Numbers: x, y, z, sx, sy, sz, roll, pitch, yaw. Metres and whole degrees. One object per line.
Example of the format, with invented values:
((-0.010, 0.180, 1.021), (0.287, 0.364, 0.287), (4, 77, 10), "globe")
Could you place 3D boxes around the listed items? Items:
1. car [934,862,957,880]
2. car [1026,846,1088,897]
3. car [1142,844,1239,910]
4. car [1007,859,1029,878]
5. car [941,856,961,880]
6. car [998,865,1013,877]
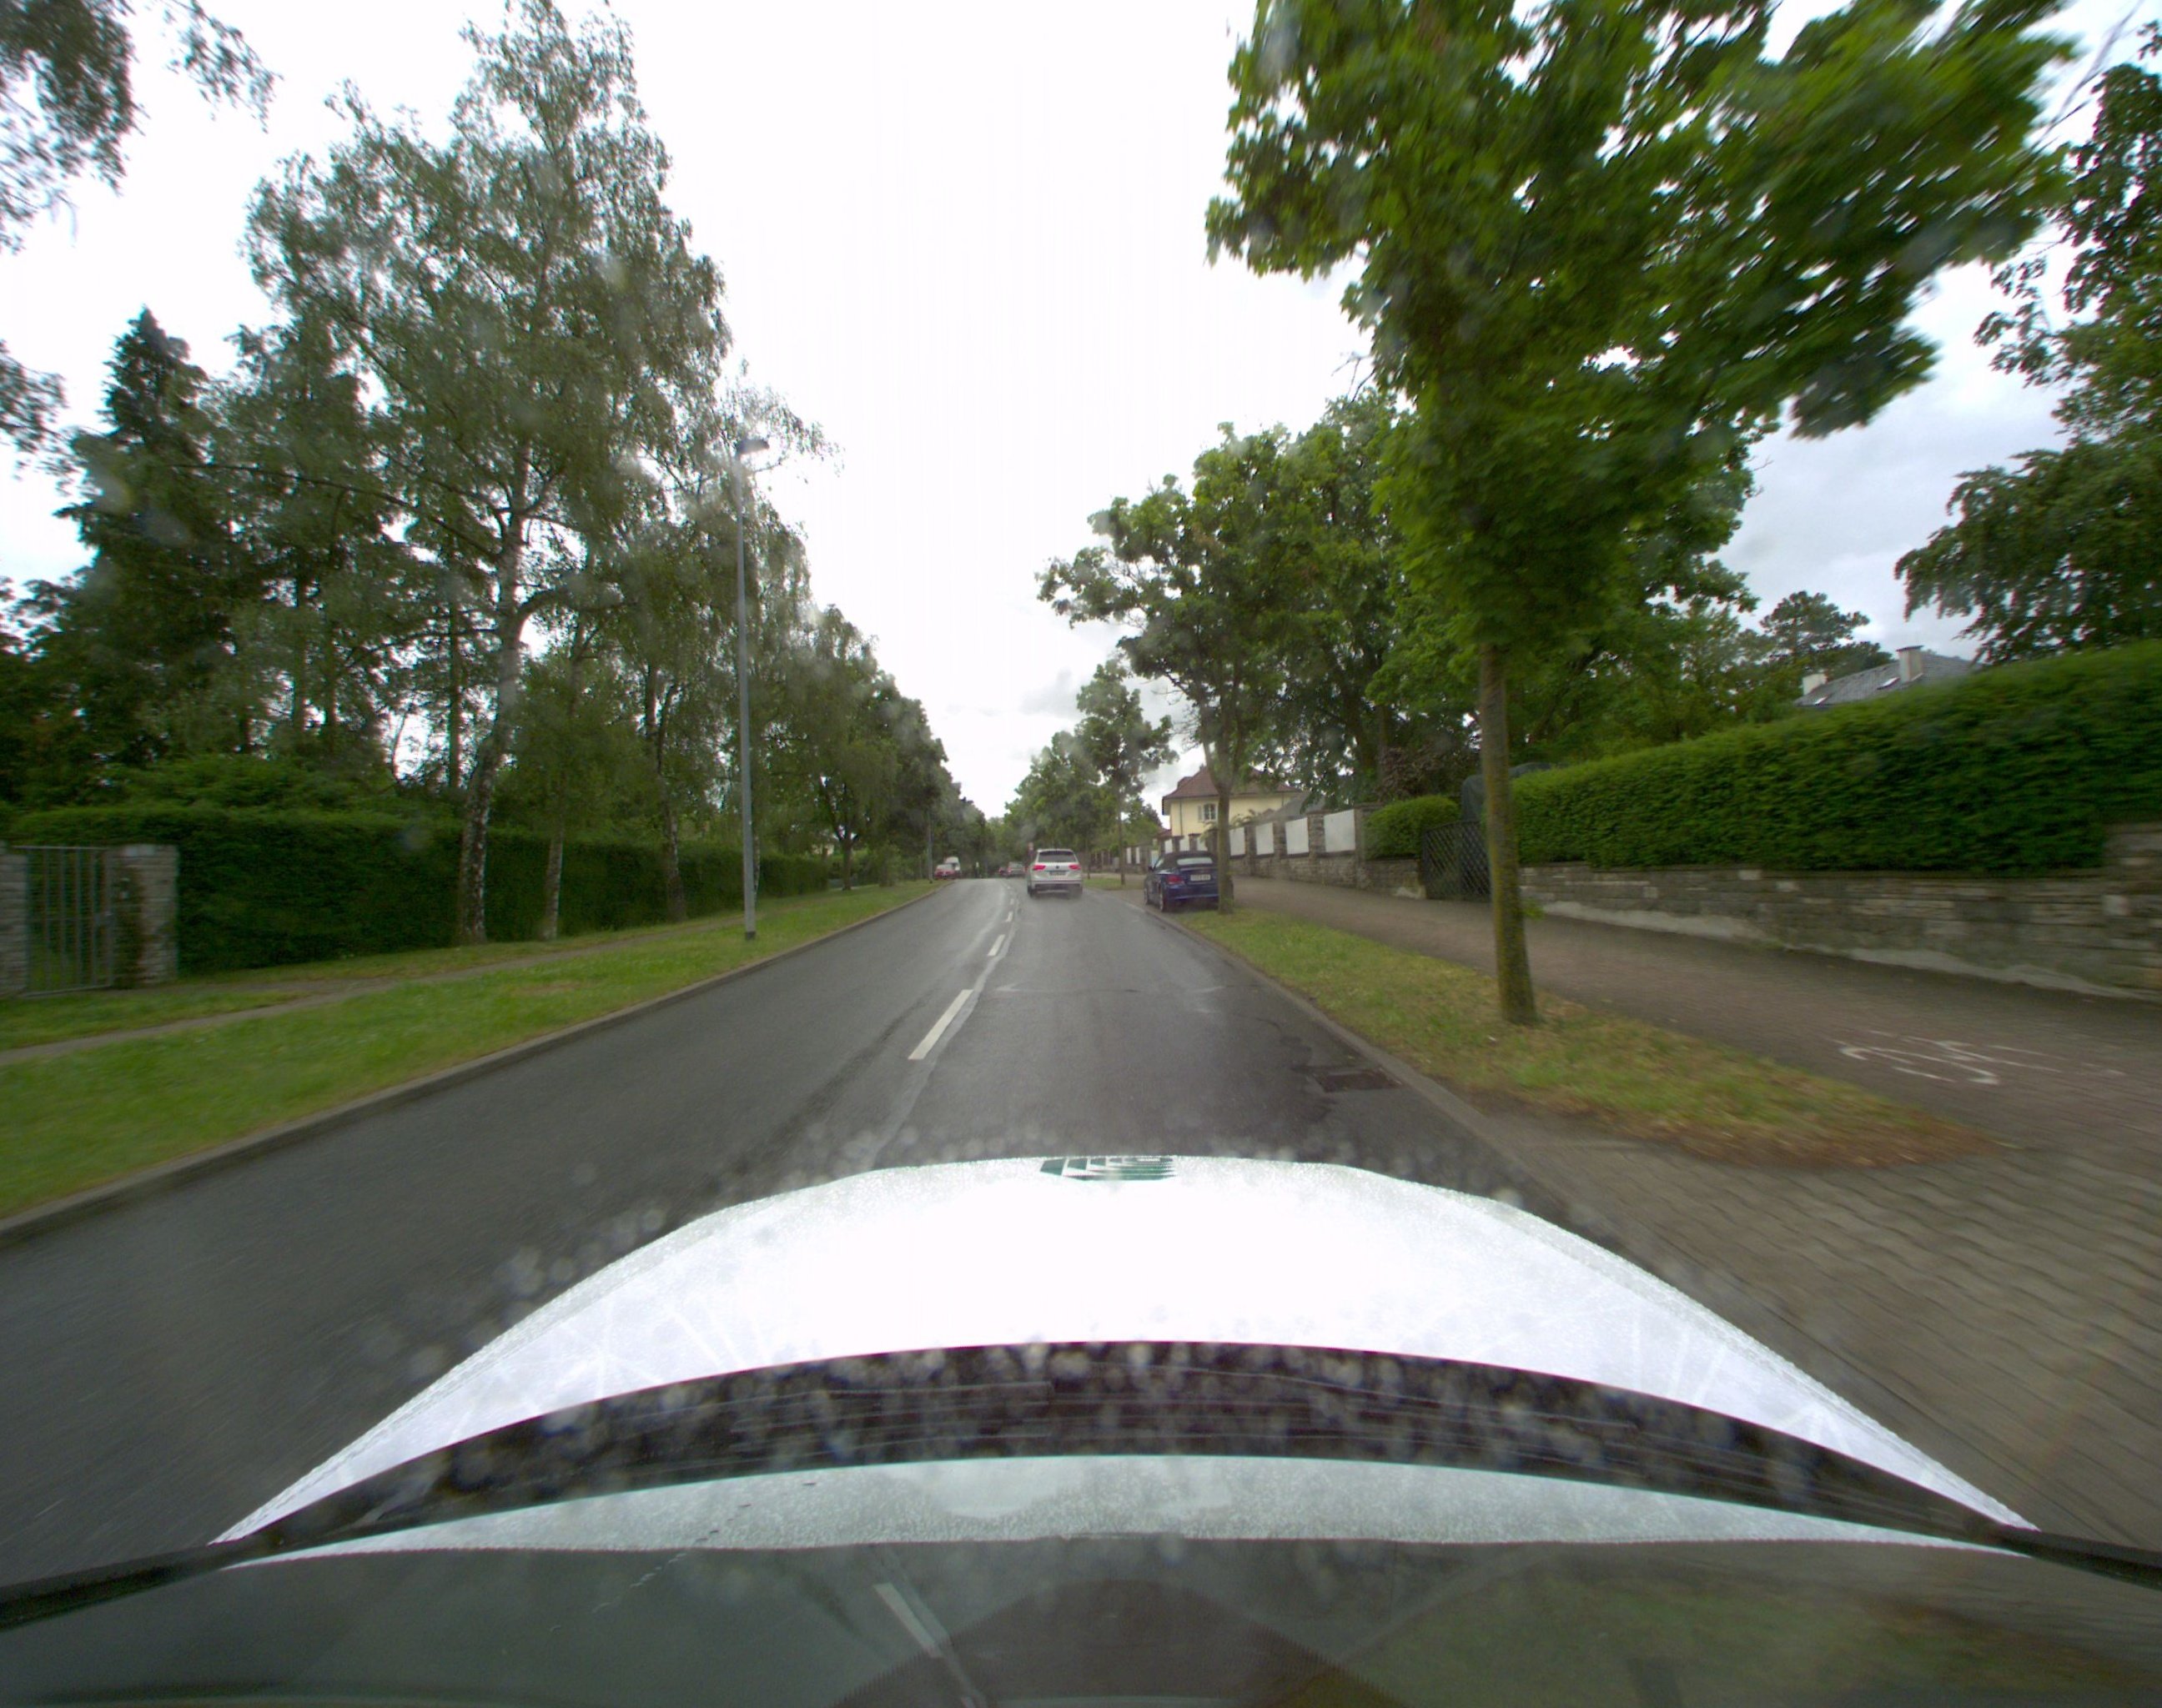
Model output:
((-11.950, 1.497, 71.921), (1.842, 1.466, 4.237), (-2, -1, -8), "car")
((-0.934, 0.573, 29.221), (1.994, 1.632, 3.993), (-2, 0, -5), "car")
((2.633, 0.536, 20.398), (1.638, 1.377, 3.824), (-4, 0, -3), "car")
((-5.588, 1.248, 71.522), (1.838, 1.487, 3.992), (-1, 0, -6), "car")
((-14.550, 1.586, 91.568), (1.992, 2.561, 5.218), (-3, -1, -8), "car")
((-9.653, 2.173, 103.581), (1.849, 1.418, 4.218), (-1, 0, -6), "car")
